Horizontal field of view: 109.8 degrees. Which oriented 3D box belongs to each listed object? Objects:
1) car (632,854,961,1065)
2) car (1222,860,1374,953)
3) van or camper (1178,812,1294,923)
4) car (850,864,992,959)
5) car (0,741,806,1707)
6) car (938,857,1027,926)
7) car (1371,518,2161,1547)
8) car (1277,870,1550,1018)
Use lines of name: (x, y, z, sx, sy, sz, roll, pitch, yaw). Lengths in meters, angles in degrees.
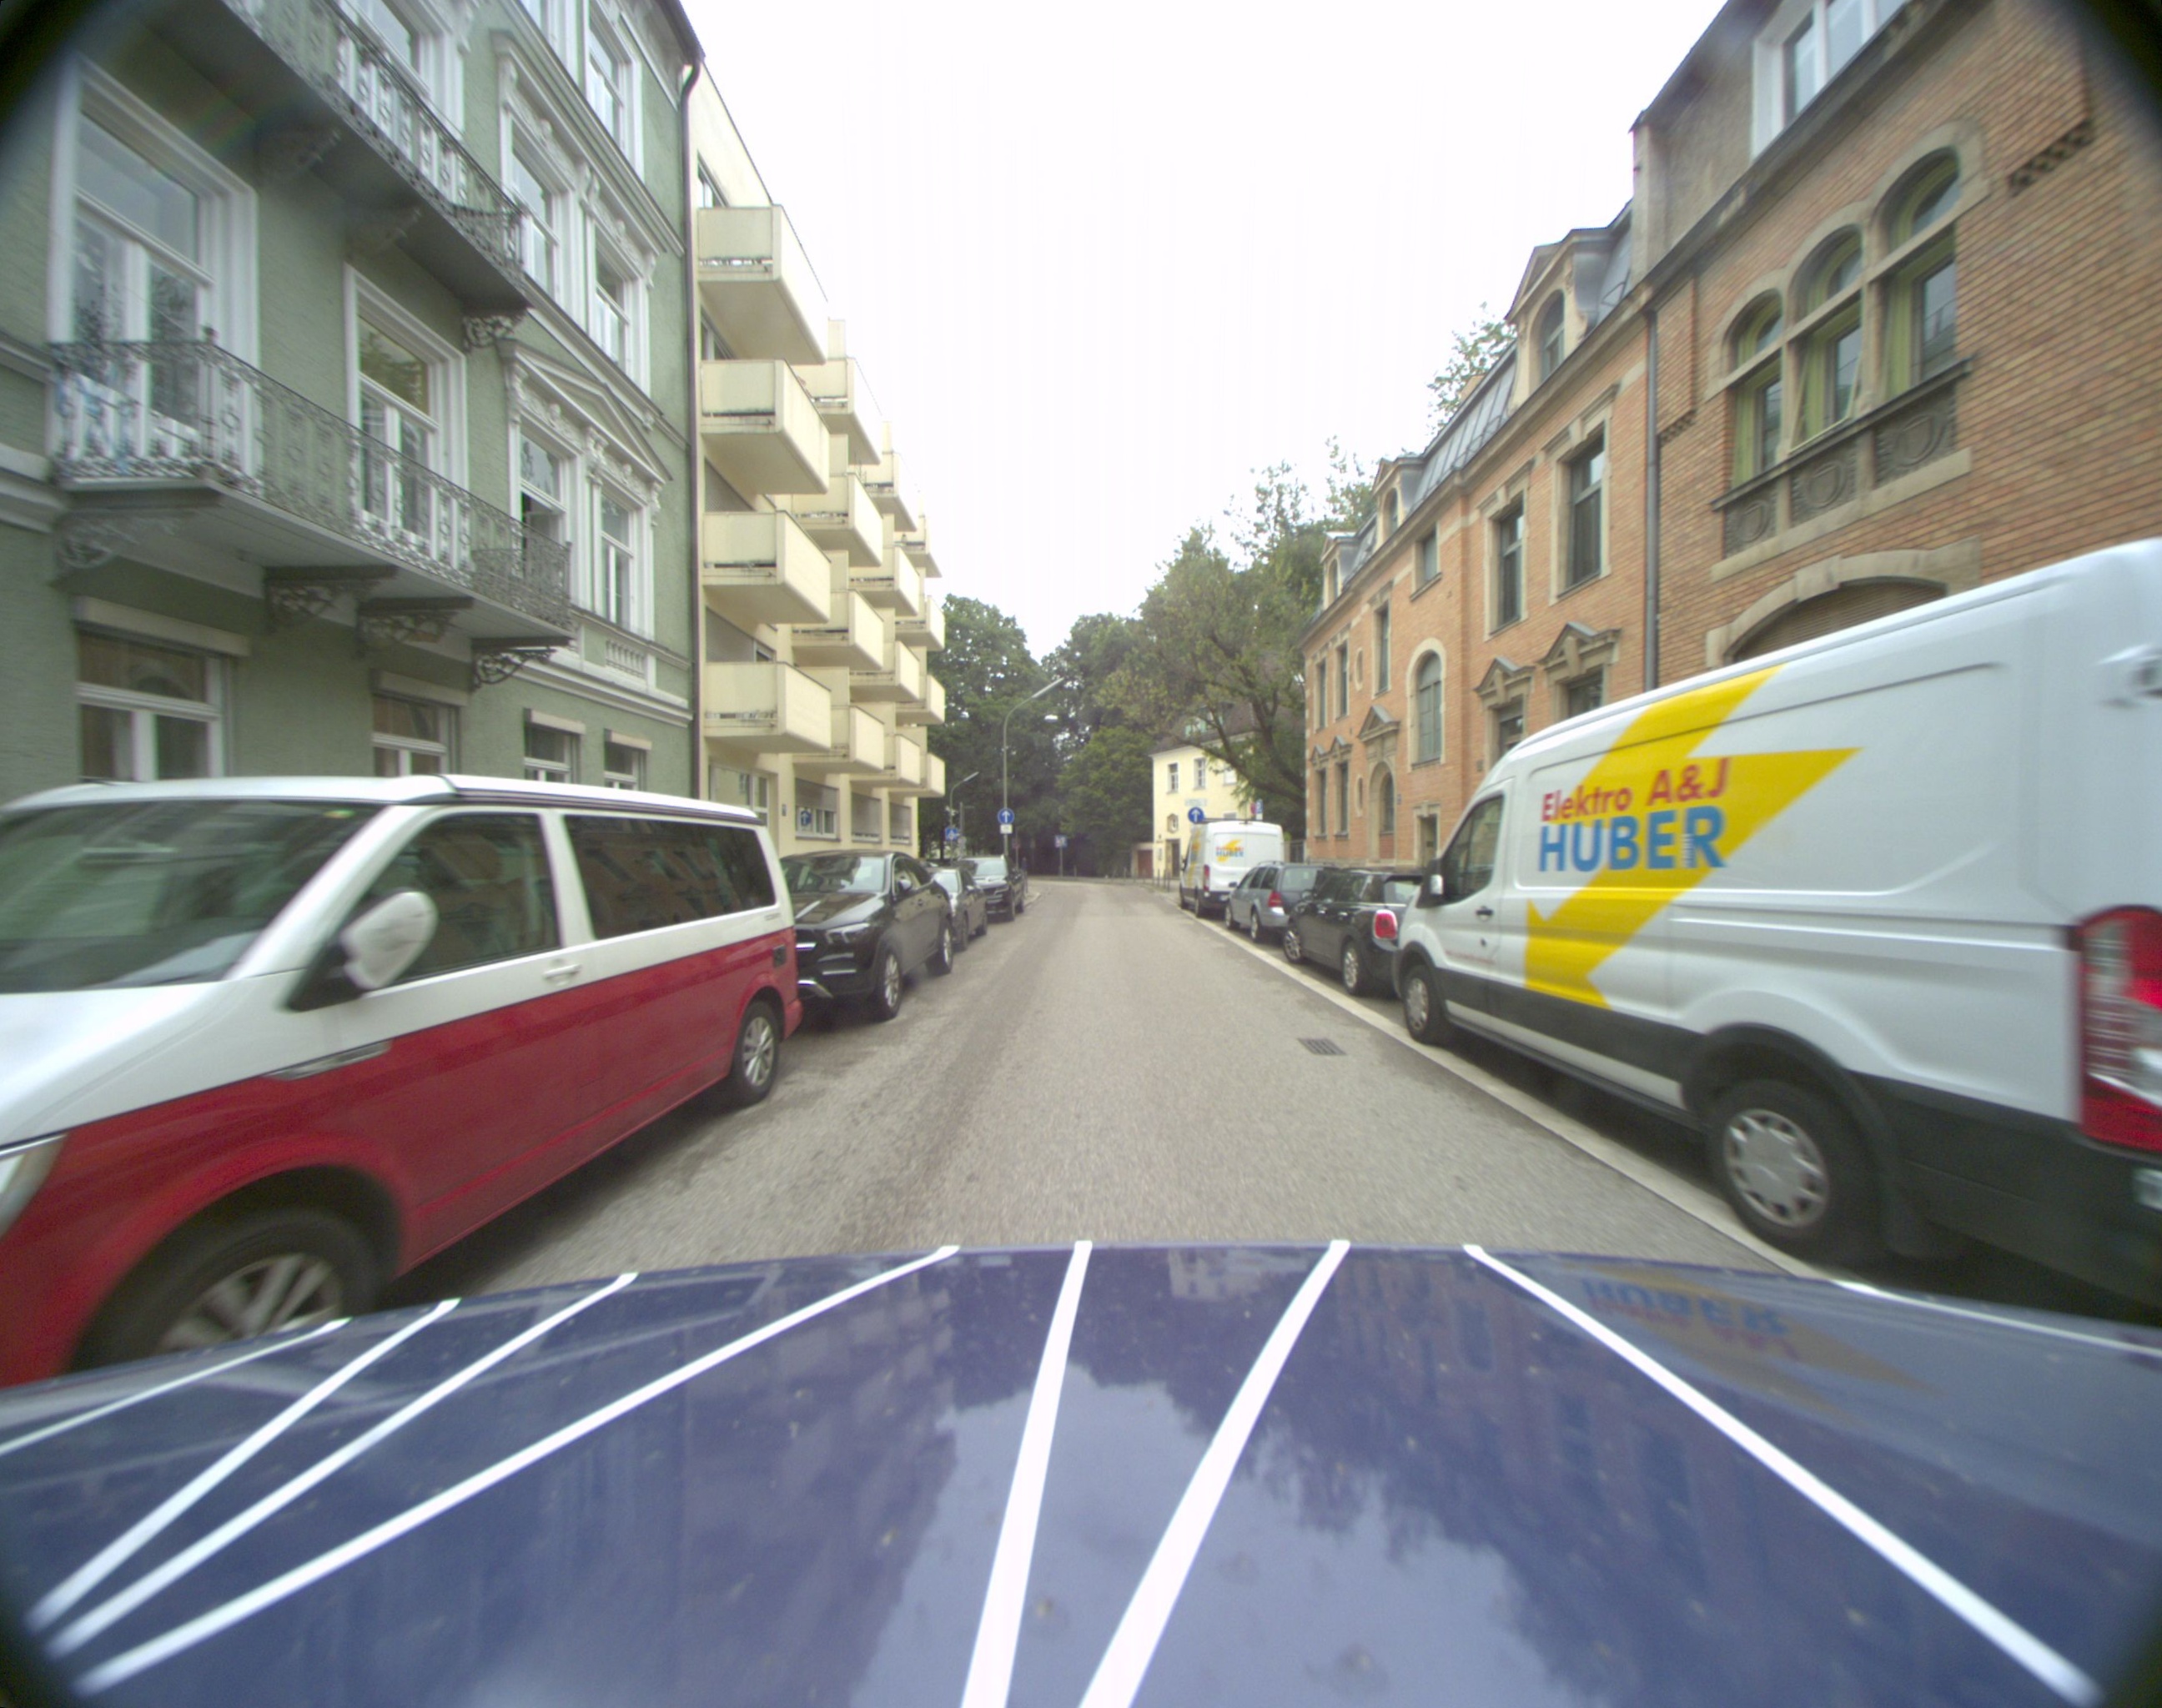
car: (-2.746, 0.883, 8.692, 1.860, 1.700, 4.698, -2, 0, 1)
car: (3.974, 0.888, 14.621, 1.769, 1.491, 4.080, 0, 0, 0)
van or camper: (4.025, 0.333, 20.623, 2.116, 2.646, 4.958, 0, 0, 0)
car: (-2.834, 0.957, 14.386, 1.753, 1.458, 4.336, 0, 0, 0)
car: (-3.056, 0.809, 3.322, 1.858, 2.019, 4.783, -1, 0, 1)
car: (-2.515, 0.896, 20.307, 1.771, 1.607, 4.263, -1, 0, 0)
car: (3.655, 0.435, 4.174, 2.117, 2.461, 5.231, 0, 0, 0)
car: (3.840, 0.946, 9.557, 1.769, 1.407, 3.793, 0, 0, 0)
